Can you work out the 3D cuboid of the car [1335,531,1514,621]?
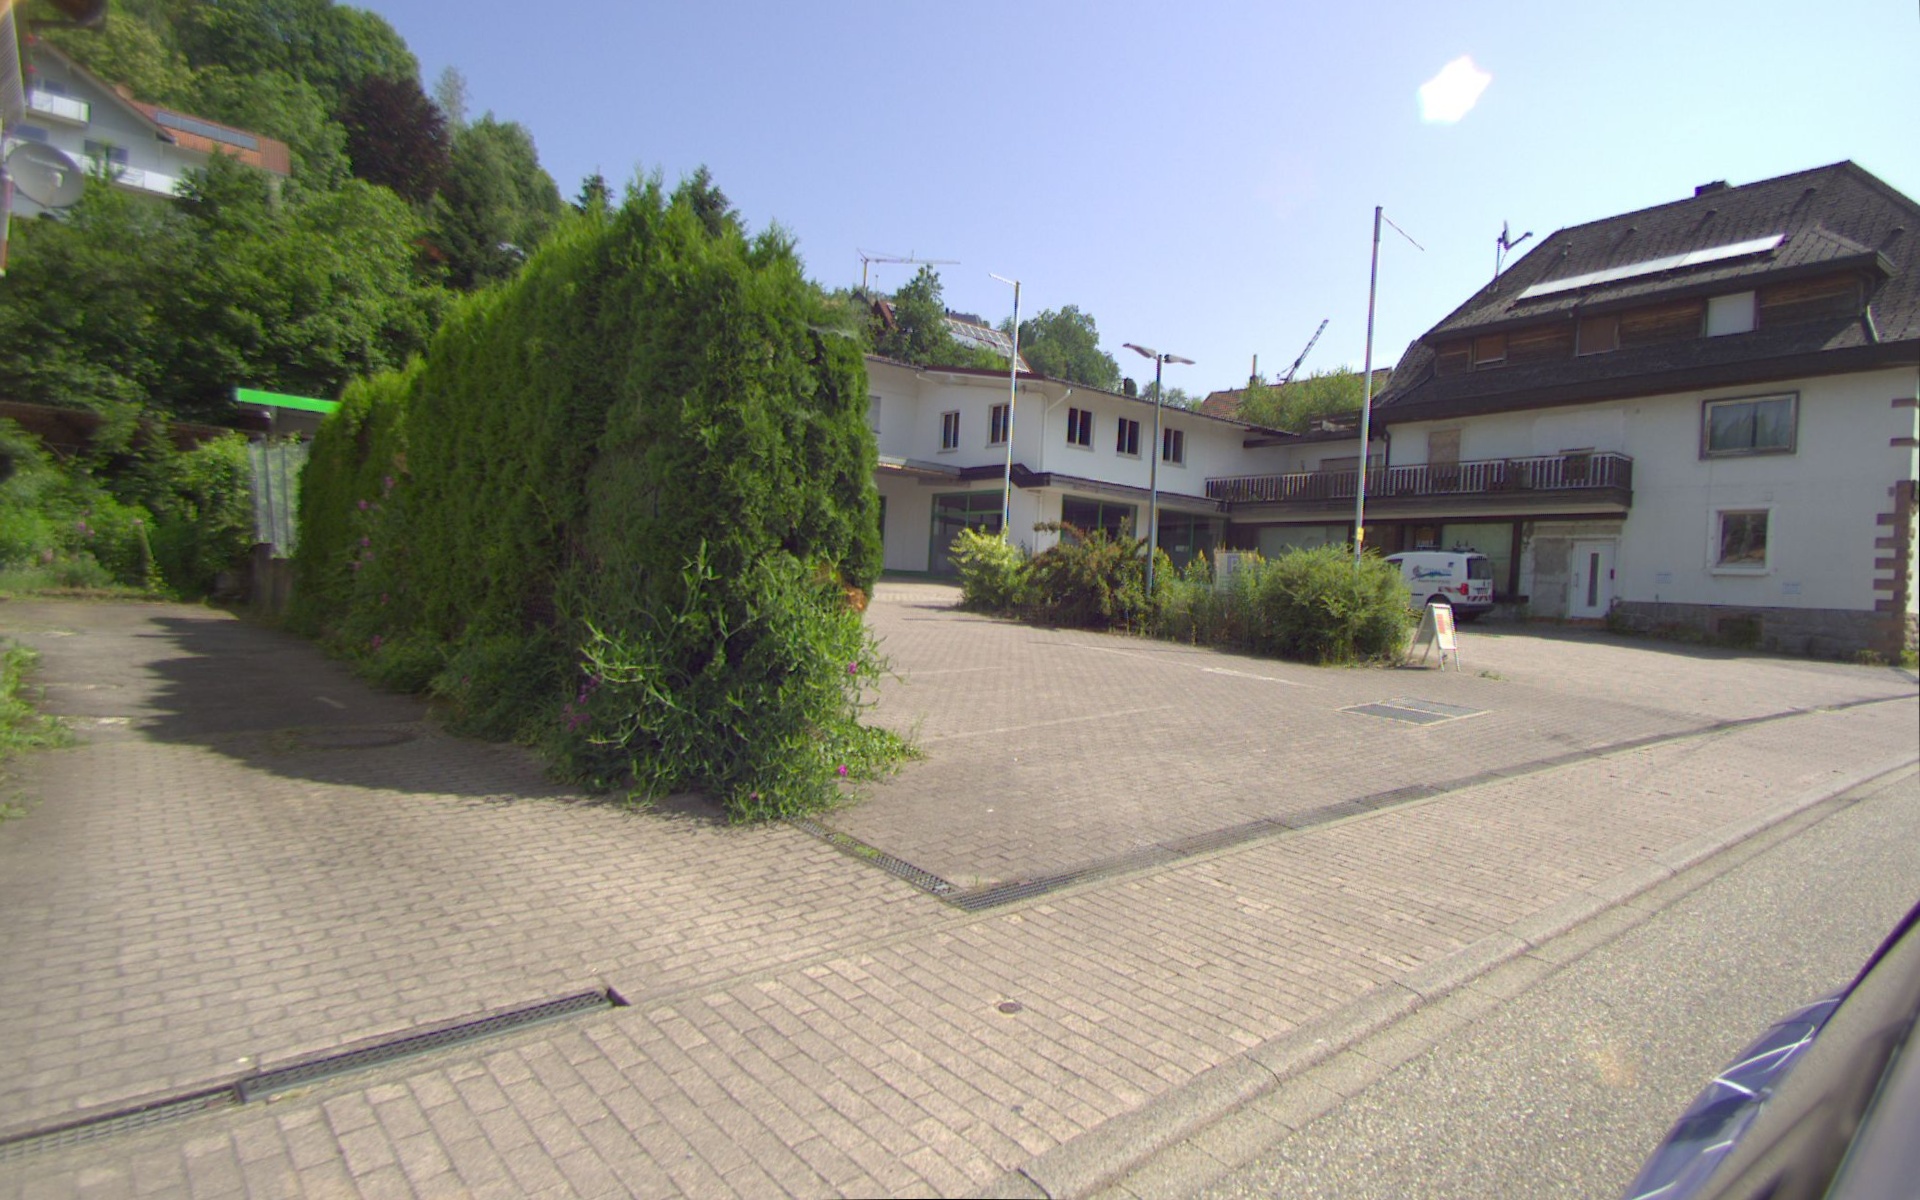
[{"bbox_3d":[12.566,-0.729,27.612,1.606,2.007,4.022,-1,7,-37],"label":"car"}]
